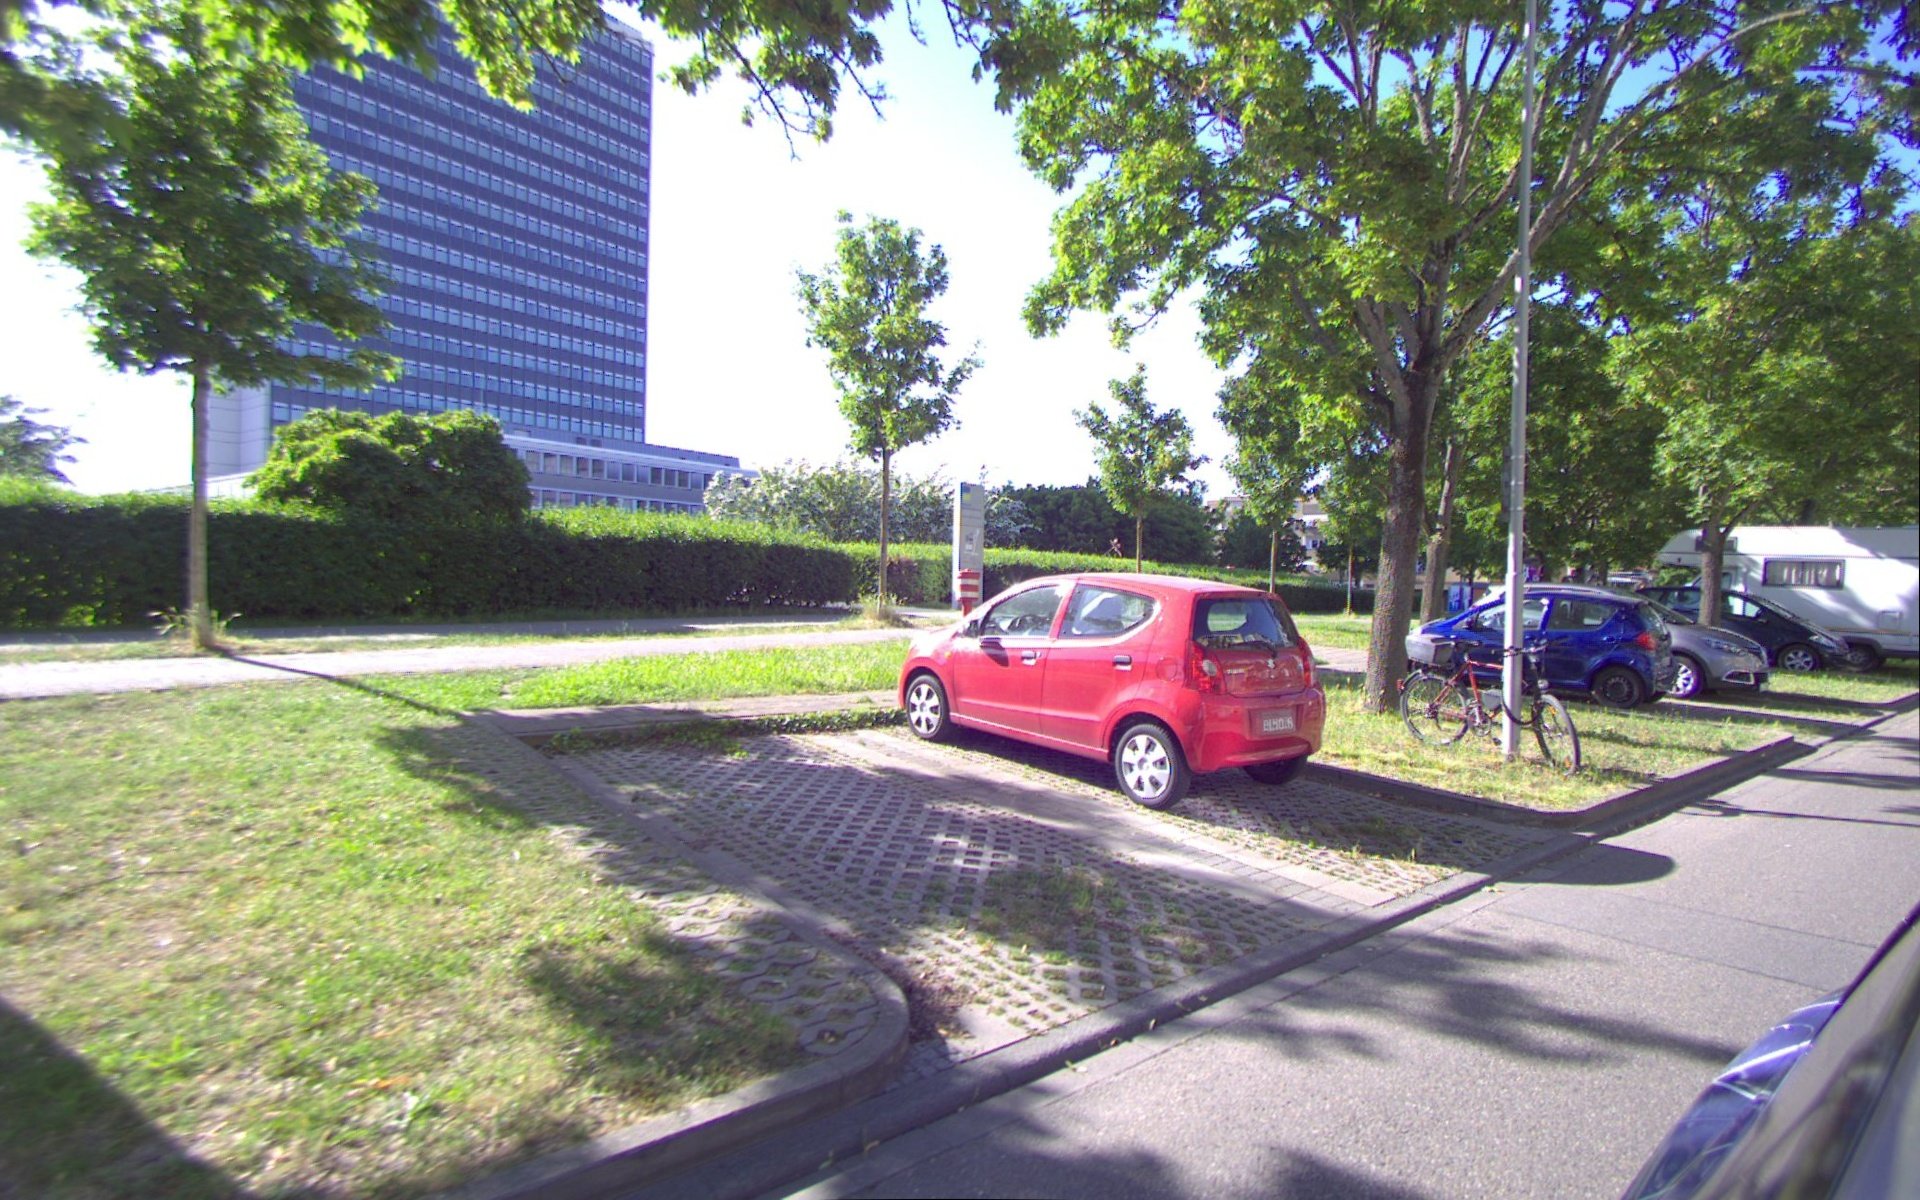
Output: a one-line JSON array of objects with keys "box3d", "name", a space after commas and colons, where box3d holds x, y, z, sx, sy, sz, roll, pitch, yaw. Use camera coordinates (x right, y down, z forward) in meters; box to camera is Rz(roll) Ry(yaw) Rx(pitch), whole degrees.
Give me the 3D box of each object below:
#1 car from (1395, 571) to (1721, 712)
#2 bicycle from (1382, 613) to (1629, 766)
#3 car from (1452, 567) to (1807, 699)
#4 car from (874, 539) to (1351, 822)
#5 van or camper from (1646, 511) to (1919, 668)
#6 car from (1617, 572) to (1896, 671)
[{"box3d": [8.233, 0.465, 14.119, 1.828, 1.497, 3.468, 0, 4, -43], "name": "car"}, {"box3d": [4.424, 0.675, 8.358, 0.519, 1.003, 1.760, 1, 3, -28], "name": "bicycle"}, {"box3d": [10.264, 0.395, 15.807, 1.825, 1.564, 4.207, 1, 4, -39], "name": "car"}, {"box3d": [0.978, 0.405, 7.869, 1.598, 1.562, 3.445, 0, 4, -39], "name": "car"}, {"box3d": [18.817, -0.303, 21.861, 2.624, 3.019, 5.996, 0, 4, -41], "name": "van or camper"}, {"box3d": [16.113, 0.352, 20.644, 1.827, 1.564, 4.158, 0, 4, -42], "name": "car"}]
